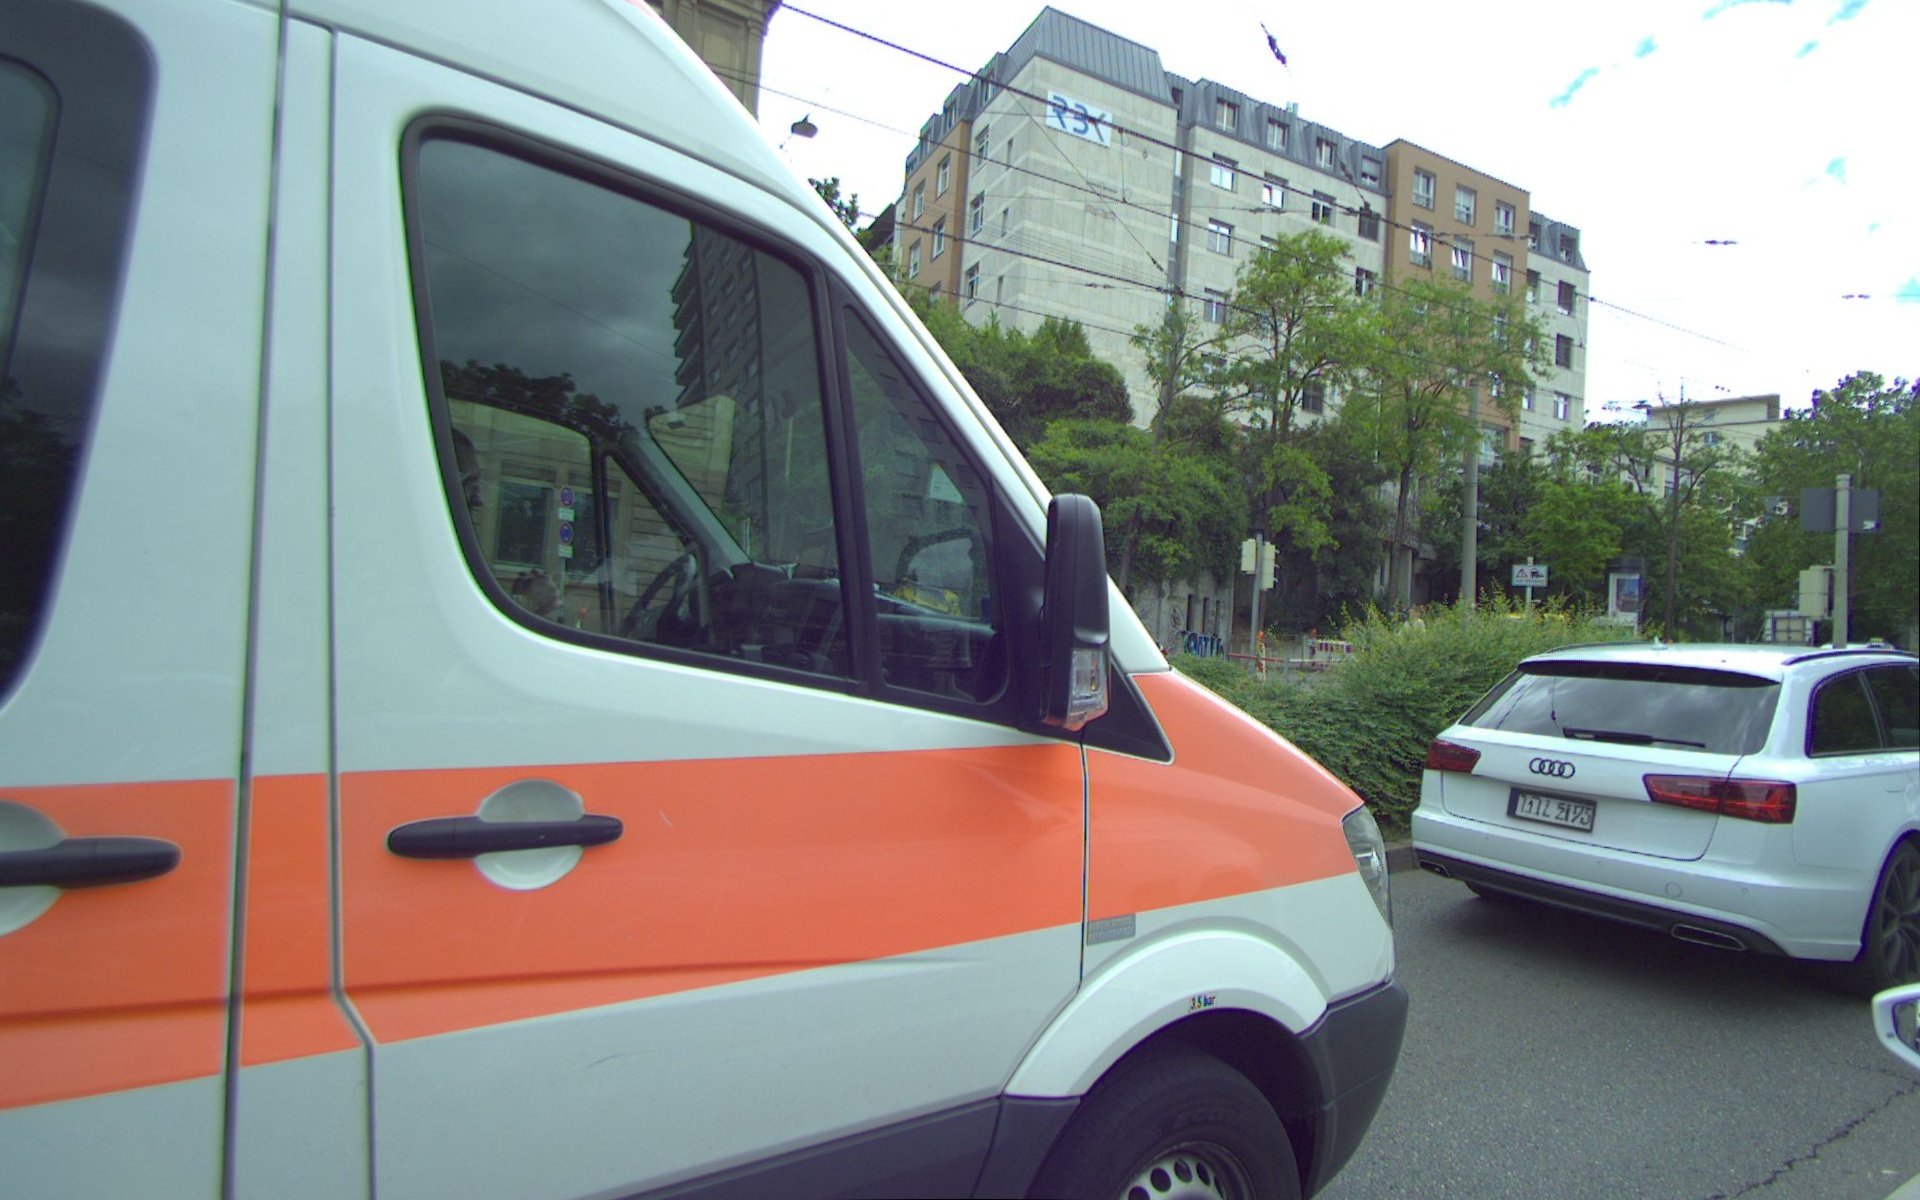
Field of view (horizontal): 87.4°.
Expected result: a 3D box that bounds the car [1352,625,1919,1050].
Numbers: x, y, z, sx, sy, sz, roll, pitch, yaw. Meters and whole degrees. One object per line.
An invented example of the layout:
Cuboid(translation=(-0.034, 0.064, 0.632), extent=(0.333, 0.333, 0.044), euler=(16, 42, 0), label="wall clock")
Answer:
Cuboid(translation=(4.434, 0.929, 5.502), extent=(4.564, 1.474, 1.870), euler=(2, -2, -31), label="car")

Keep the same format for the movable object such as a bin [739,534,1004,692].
Cuboid(translation=(-2.147, 0.425, 26.014), extent=(6.500, 3.594, 2.722), euler=(2, -3, -42), label="movable object such as a bin")

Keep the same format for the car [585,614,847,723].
Cuboid(translation=(-3.663, 0.988, 15.307), extent=(3.531, 1.473, 1.633), euler=(2, -1, -36), label="car")

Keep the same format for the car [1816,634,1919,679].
Cuboid(translation=(35.013, 2.159, 38.268), extent=(4.558, 1.626, 1.988), euler=(2, -2, -26), label="car")

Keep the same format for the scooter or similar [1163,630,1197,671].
Cuboid(translation=(7.232, 1.652, 33.038), extent=(1.282, 1.306, 0.423), euler=(2, -2, -41), label="scooter or similar")

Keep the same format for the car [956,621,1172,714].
Cuboid(translation=(2.023, 1.241, 19.005), extent=(3.961, 1.587, 1.692), euler=(2, -2, -36), label="car")

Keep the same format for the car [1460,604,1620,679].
Cuboid(translation=(21.788, 1.588, 37.672), extent=(6.255, 2.628, 2.149), euler=(2, -2, -27), label="car")

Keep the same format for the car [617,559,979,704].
Cuboid(translation=(-3.057, 0.673, 19.963), extent=(6.687, 2.468, 2.425), euler=(3, -2, -35), label="car")

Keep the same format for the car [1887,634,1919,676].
Cuboid(translation=(39.561, 2.209, 40.282), extent=(4.548, 1.626, 1.988), euler=(2, -2, -26), label="car")

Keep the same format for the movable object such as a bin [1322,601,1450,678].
Cuboid(translation=(14.747, 1.356, 34.759), extent=(4.045, 2.500, 1.926), euler=(2, 0, -27), label="movable object such as a bin")

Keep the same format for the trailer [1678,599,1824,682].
Cuboid(translation=(30.779, 1.584, 39.075), extent=(5.510, 3.012, 2.015), euler=(2, 0, -23), label="trailer")

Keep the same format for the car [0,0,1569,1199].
Cuboid(translation=(-1.722, 0.345, 1.497), extent=(5.786, 2.735, 2.024), euler=(2, -1, -31), label="car")
